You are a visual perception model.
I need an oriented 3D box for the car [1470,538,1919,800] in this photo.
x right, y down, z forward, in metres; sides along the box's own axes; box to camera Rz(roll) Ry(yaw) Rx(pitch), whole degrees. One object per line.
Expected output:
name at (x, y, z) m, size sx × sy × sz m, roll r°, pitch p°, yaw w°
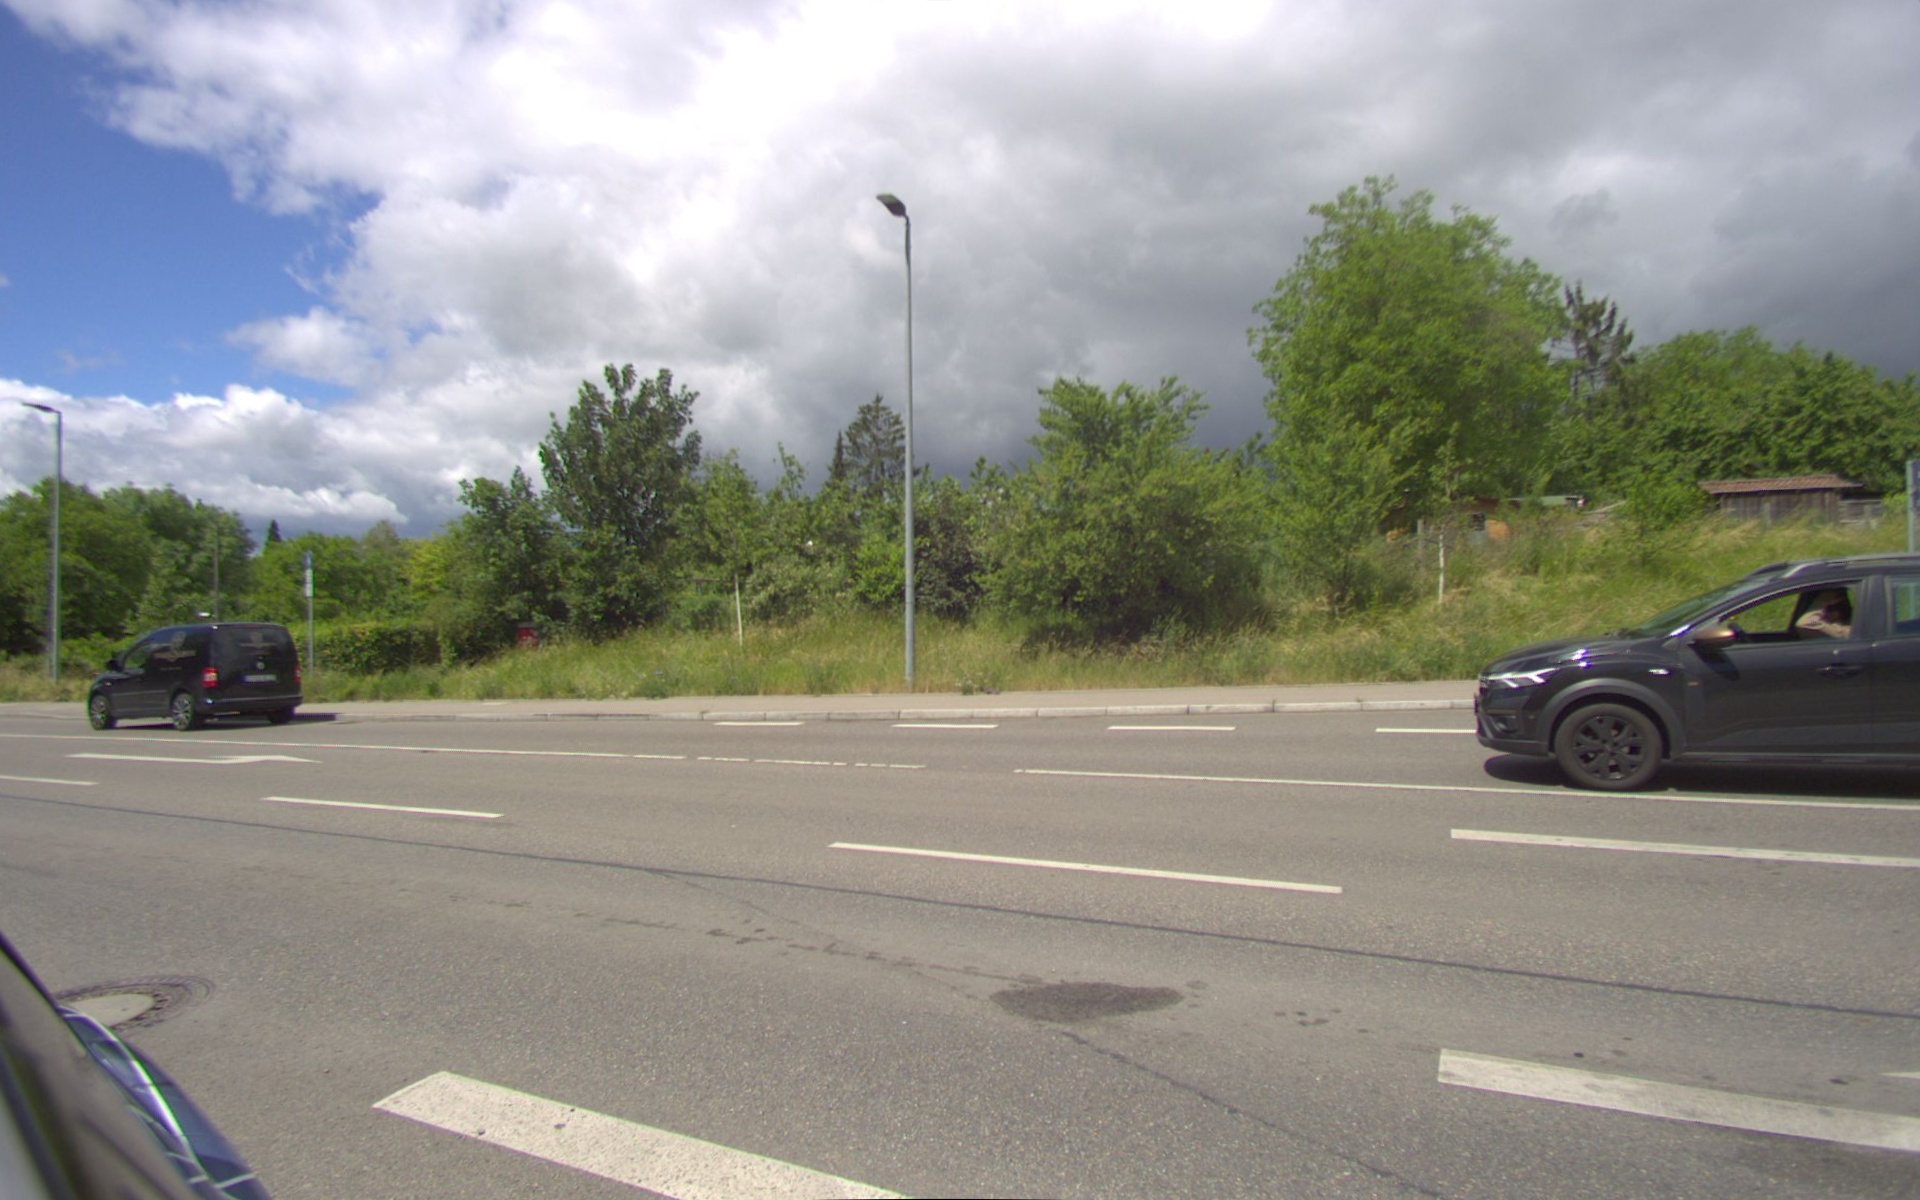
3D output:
car at (5.957, 0.428, 7.116) m, size 4.146 × 1.590 × 1.773 m, roll -2°, pitch -1°, yaw 29°

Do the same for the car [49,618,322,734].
car at (-13.969, 1.375, 18.227) m, size 4.780 × 1.792 × 1.777 m, roll -4°, pitch -2°, yaw 23°
